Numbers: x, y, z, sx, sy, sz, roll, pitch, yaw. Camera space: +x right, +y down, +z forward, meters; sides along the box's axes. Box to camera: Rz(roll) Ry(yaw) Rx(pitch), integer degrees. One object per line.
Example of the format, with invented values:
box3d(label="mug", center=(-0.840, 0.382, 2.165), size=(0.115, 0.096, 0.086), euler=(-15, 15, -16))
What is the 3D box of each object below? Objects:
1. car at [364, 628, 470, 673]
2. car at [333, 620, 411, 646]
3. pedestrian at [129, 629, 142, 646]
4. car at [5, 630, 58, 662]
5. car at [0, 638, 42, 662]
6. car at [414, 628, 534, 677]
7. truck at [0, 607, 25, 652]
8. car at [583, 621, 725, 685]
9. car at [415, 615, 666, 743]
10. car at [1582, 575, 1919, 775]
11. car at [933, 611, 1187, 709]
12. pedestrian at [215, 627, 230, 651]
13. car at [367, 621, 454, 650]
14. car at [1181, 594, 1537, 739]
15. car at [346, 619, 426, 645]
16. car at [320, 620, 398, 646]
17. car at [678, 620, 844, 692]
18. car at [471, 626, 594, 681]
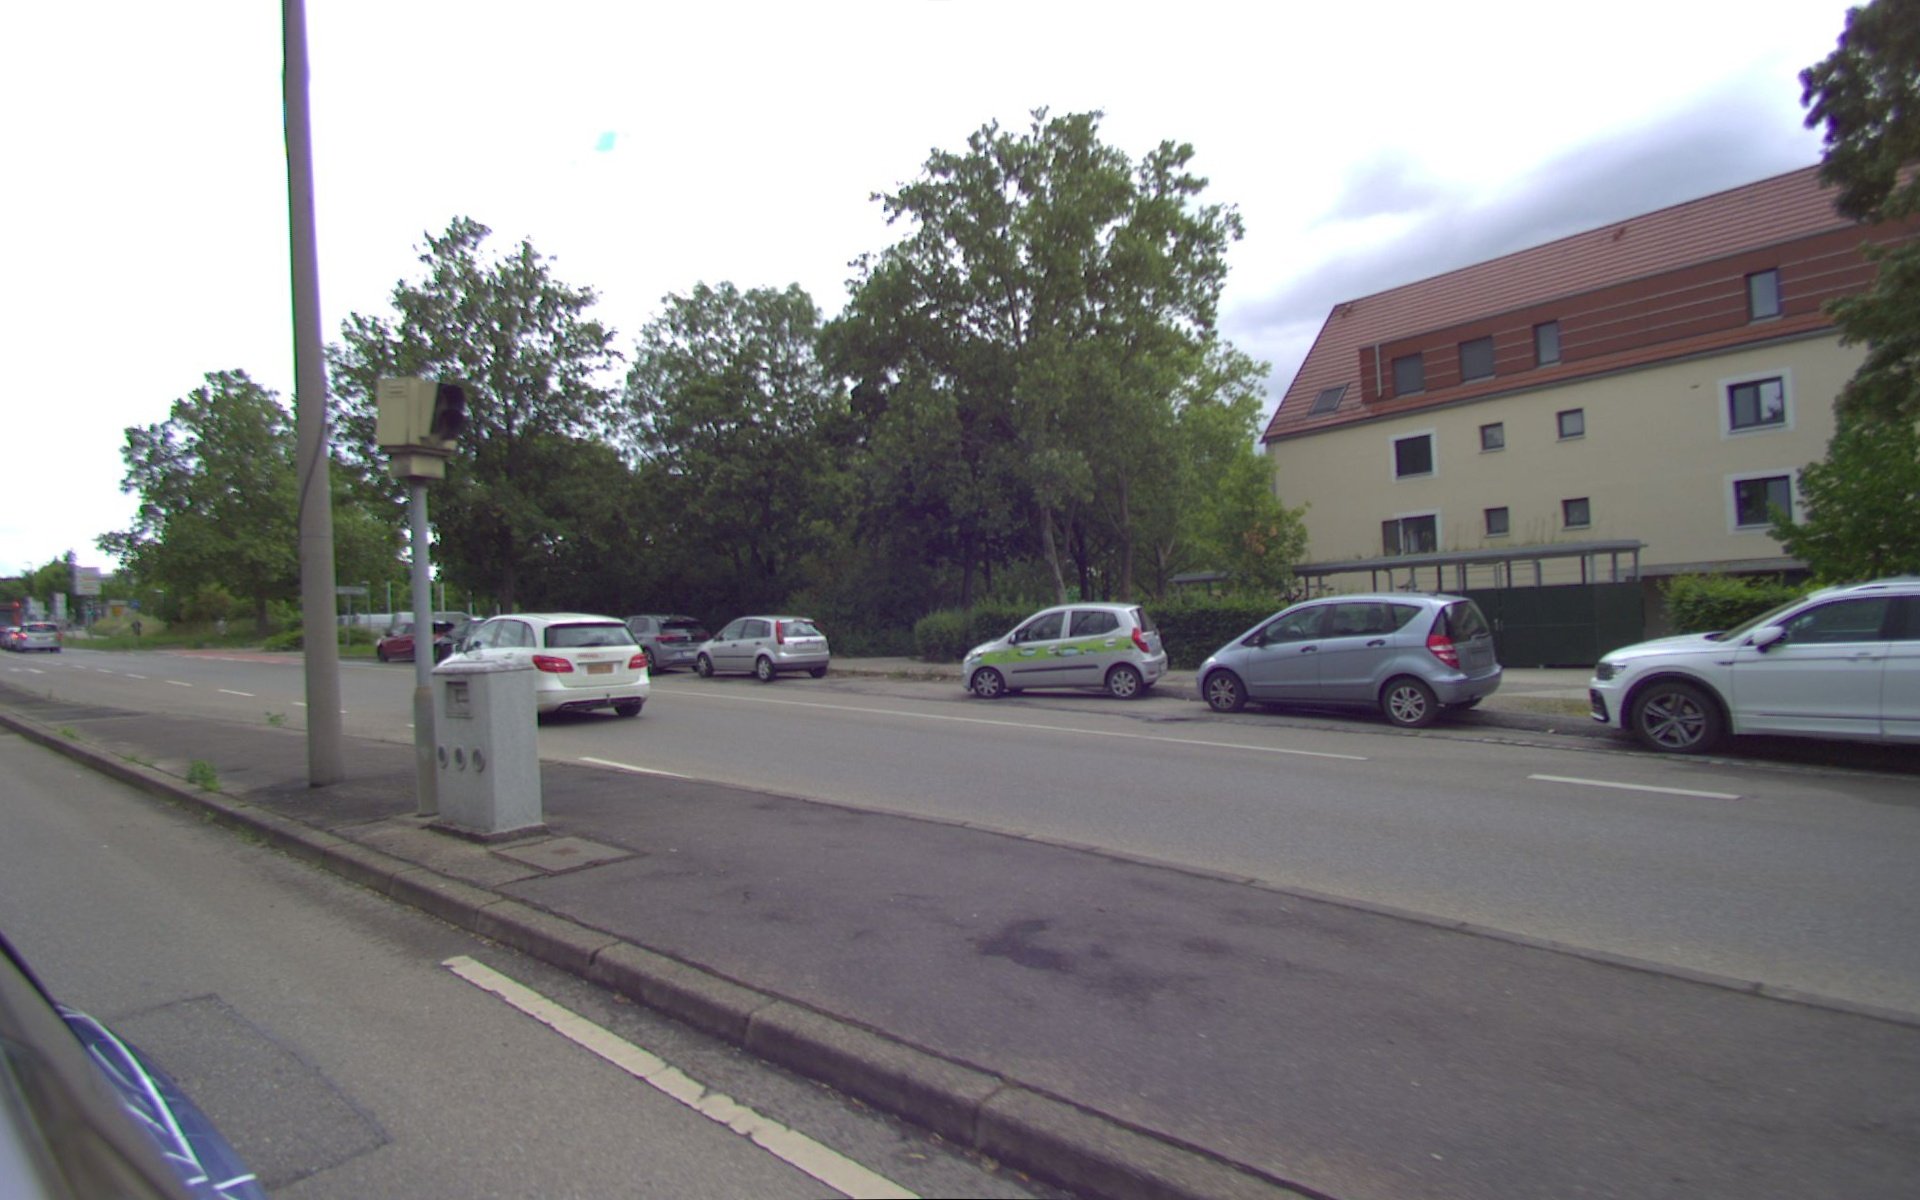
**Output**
box3d(label="car", center=(-20.159, 1.862, 37.544), size=(3.878, 1.518, 1.859), euler=(-2, 0, 34))
box3d(label="car", center=(-47.791, 2.683, 82.354), size=(1.738, 2.029, 5.230), euler=(-1, -2, 40))
box3d(label="pedestrian", center=(-70.039, 3.171, 85.967), size=(0.639, 1.458, 0.747), euler=(-1, 0, 41))
box3d(label="car", center=(-55.018, 2.694, 59.941), size=(4.403, 1.783, 1.810), euler=(-2, 0, 40))
box3d(label="car", center=(-59.409, 3.137, 63.935), size=(4.121, 1.498, 1.710), euler=(-2, -2, 42))
box3d(label="car", center=(-16.628, 1.756, 34.583), size=(3.987, 1.518, 1.861), euler=(-2, 0, 32))
box3d(label="truck", center=(-77.084, 2.358, 81.195), size=(2.792, 3.507, 7.827), euler=(0, -1, -45))
box3d(label="car", center=(-8.296, 1.411, 27.288), size=(3.999, 1.518, 1.855), euler=(-3, -1, 42))
box3d(label="car", center=(-6.409, 1.050, 15.228), size=(4.339, 1.582, 1.855), euler=(0, 1, 43))
box3d(label="car", center=(8.542, 0.617, 9.355), size=(1.852, 1.679, 4.396), euler=(-1, 0, -41))
box3d(label="car", center=(1.726, 0.996, 17.408), size=(3.973, 1.518, 1.867), euler=(-2, -1, 23))
box3d(label="pedestrian", center=(-55.669, 2.936, 76.405), size=(0.637, 1.750, 0.749), euler=(-1, 0, 33))
box3d(label="car", center=(-40.173, 2.566, 74.077), size=(2.010, 2.029, 5.230), euler=(-1, -2, 40))
box3d(label="car", center=(5.193, 0.803, 13.573), size=(1.852, 1.609, 4.005), euler=(-1, -1, -42))
box3d(label="car", center=(-45.449, 2.537, 80.235), size=(1.739, 2.029, 5.229), euler=(-1, -2, 41))
box3d(label="car", center=(-49.627, 2.709, 83.682), size=(1.738, 2.029, 5.230), euler=(-1, -2, 40))
box3d(label="car", center=(-4.779, 1.277, 24.012), size=(4.000, 1.518, 1.855), euler=(-2, -1, 43))
box3d(label="car", center=(-13.260, 1.616, 31.294), size=(4.054, 1.518, 1.856), euler=(-2, 0, 40))
